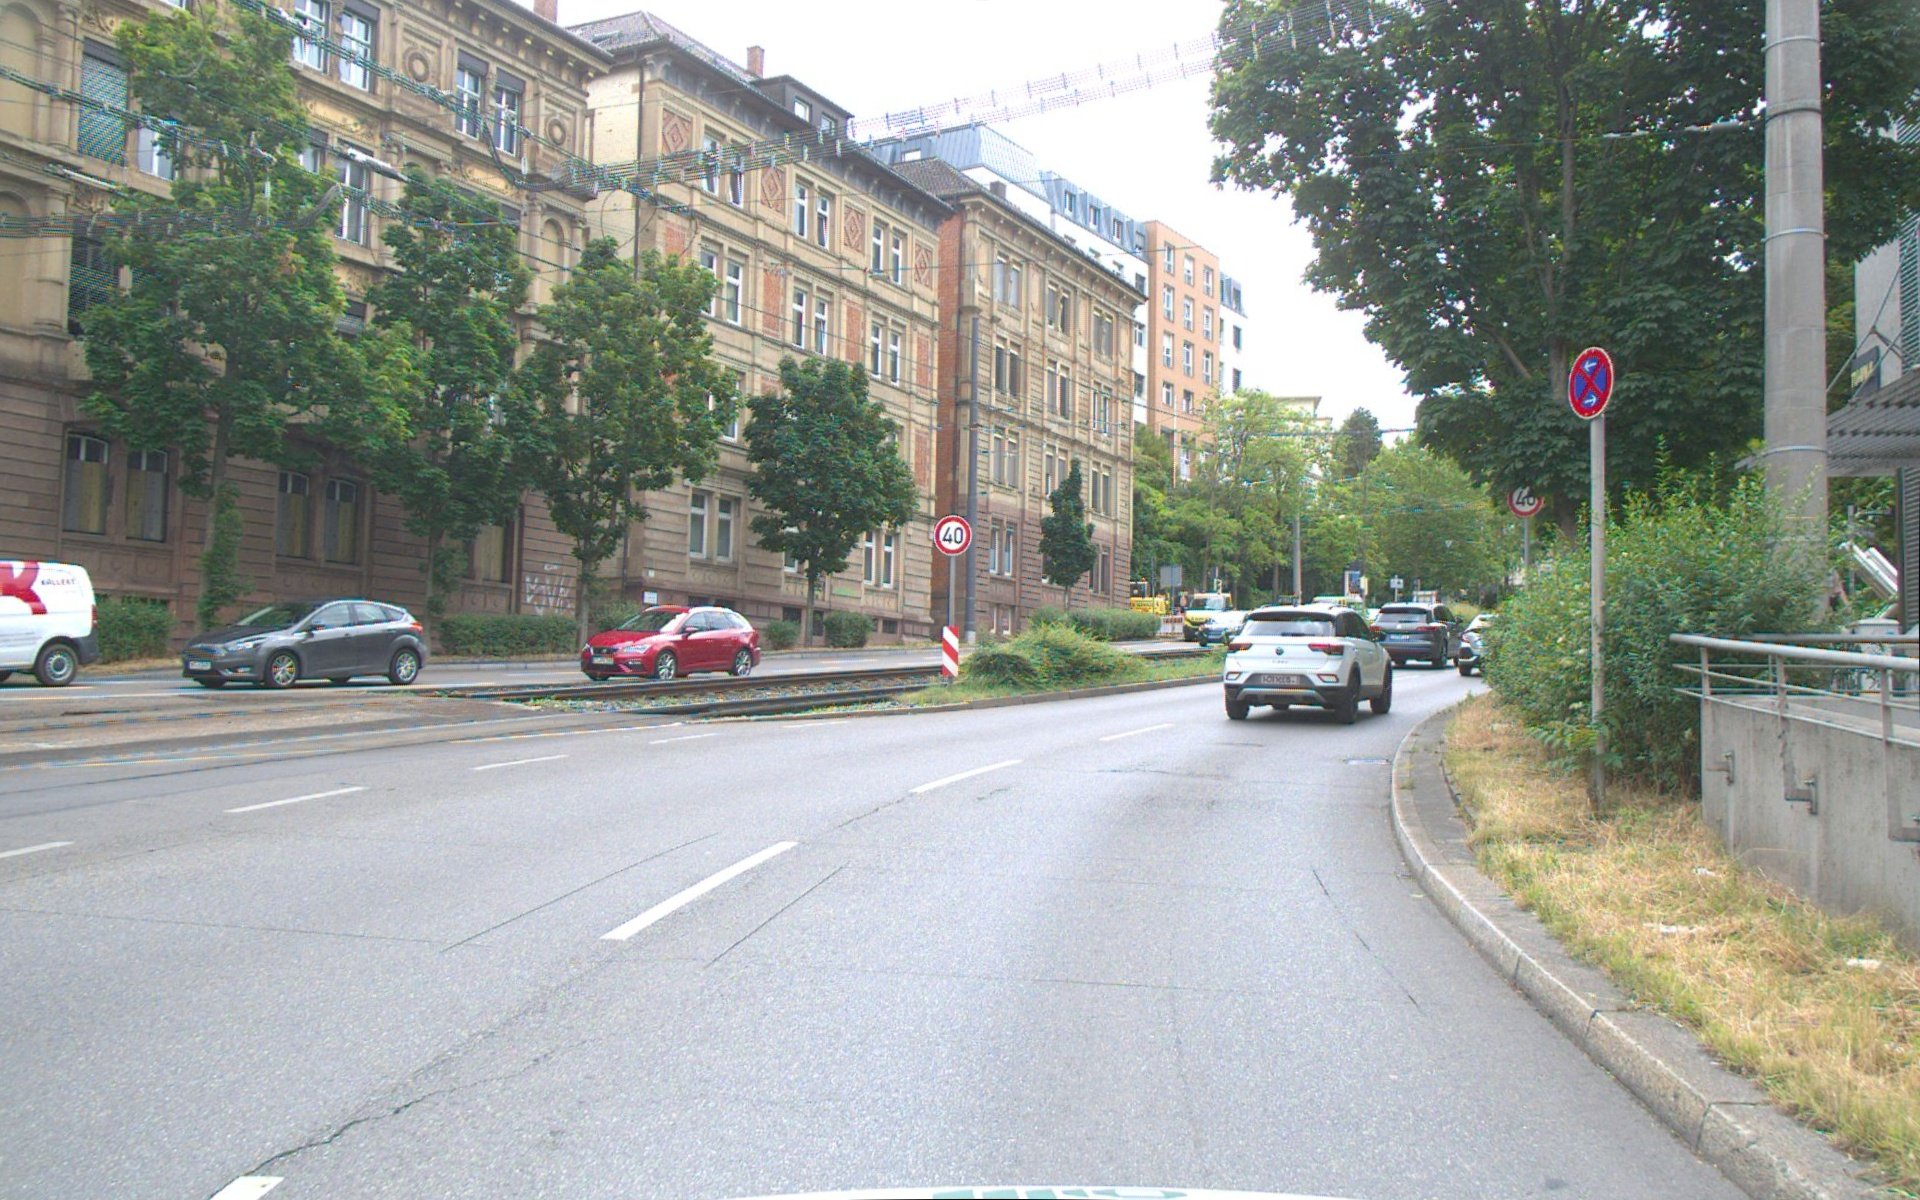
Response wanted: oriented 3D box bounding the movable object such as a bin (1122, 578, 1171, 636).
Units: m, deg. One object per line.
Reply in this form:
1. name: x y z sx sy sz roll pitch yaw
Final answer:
1. movable object such as a bin: 9.396 0.377 83.258 1.953 2.888 2.029 -1 -1 22

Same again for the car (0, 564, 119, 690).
1. car: -15.444 0.378 24.671 1.954 1.882 4.989 1 -1 25

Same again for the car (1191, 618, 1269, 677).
1. car: 11.406 2.013 69.592 1.784 1.475 4.941 2 -12 27

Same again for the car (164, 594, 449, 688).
1. car: -10.806 0.700 27.687 1.709 1.452 4.399 -1 -2 28

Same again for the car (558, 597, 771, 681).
1. car: -5.780 0.822 32.921 1.954 1.546 4.401 -1 -3 26

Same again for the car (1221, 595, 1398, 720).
1. car: 5.085 0.791 23.642 1.898 1.594 4.046 1 -1 20

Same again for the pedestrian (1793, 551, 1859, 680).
1. pedestrian: 12.497 0.221 23.883 0.659 1.826 0.609 1 0 8

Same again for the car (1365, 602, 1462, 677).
1. car: 11.946 0.983 43.404 1.803 1.770 3.997 1 1 25

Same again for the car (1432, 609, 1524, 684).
1. car: 12.322 1.119 39.217 1.863 1.601 3.834 3 -2 20

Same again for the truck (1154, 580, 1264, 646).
1. truck: 12.178 0.671 80.199 2.864 2.552 7.143 7 0 28
